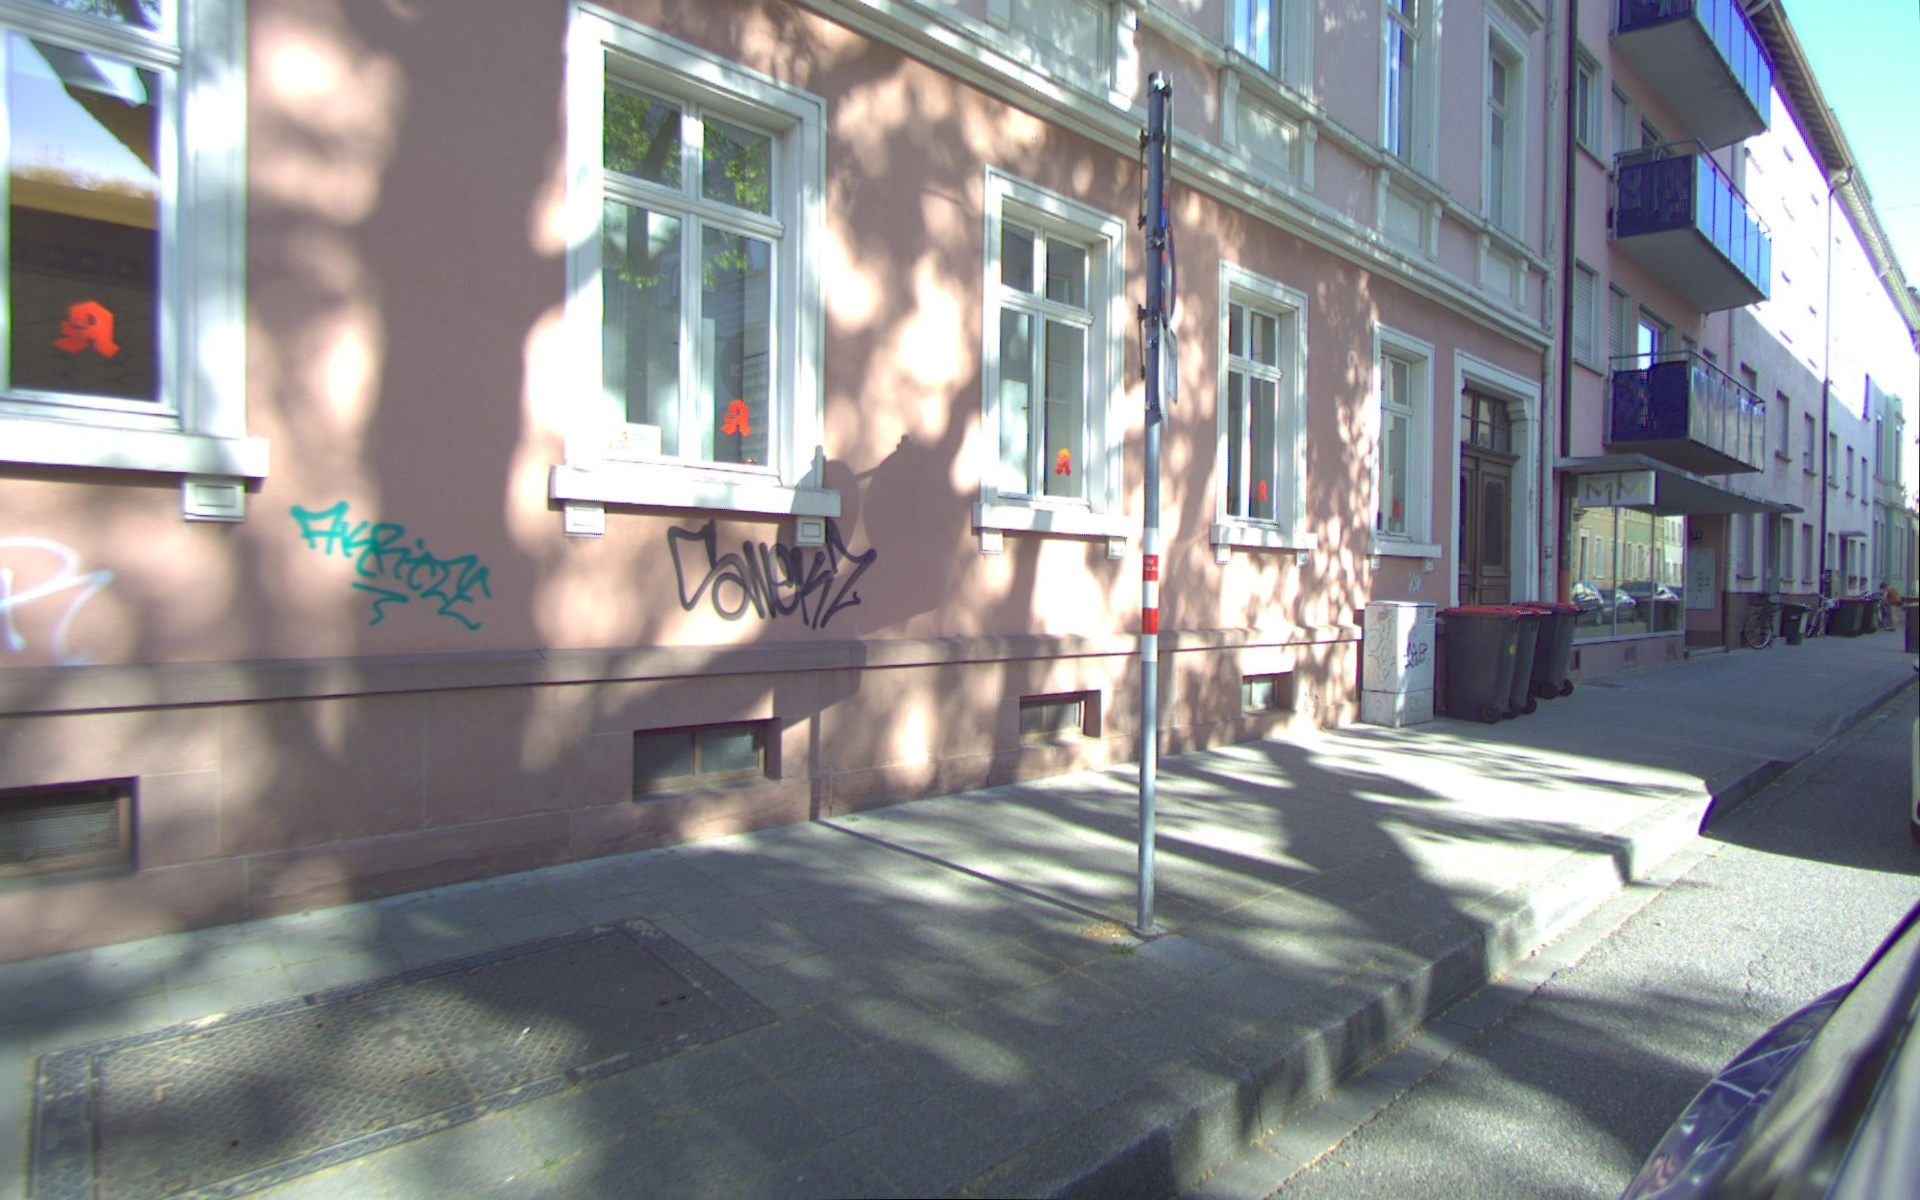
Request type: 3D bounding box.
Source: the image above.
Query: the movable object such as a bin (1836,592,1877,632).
[{"bbox_3d":[24.223,0.307,27.345,0.537,1.014,0.716,0,4,-43],"label":"movable object such as a bin"}]

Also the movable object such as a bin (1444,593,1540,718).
[{"bbox_3d":[5.041,0.500,9.588,0.643,1.097,0.570,0,4,-43],"label":"movable object such as a bin"}]

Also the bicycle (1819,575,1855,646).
[{"bbox_3d":[22.426,0.241,25.870,2.070,1.757,0.402,0,1,-41],"label":"bicycle"}]

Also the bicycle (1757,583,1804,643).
[{"bbox_3d":[16.819,0.247,20.736,1.989,1.165,0.402,0,1,-41],"label":"bicycle"}]

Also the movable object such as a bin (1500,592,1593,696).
[{"bbox_3d":[6.679,0.475,11.523,0.608,1.097,0.717,0,4,-43],"label":"movable object such as a bin"}]

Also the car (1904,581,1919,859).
[{"bbox_3d":[7.339,0.632,6.177,4.483,1.475,1.860,0,1,-41],"label":"car"}]

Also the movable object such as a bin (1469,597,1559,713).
[{"bbox_3d":[5.486,0.522,10.021,0.601,1.071,0.570,0,4,-43],"label":"movable object such as a bin"}]

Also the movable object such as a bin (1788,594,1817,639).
[{"bbox_3d":[18.603,0.351,22.344,0.297,0.951,0.415,0,4,-43],"label":"movable object such as a bin"}]

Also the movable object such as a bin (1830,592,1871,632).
[{"bbox_3d":[23.742,0.315,26.977,0.537,1.014,0.716,0,4,-43],"label":"movable object such as a bin"}]

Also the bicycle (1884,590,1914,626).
[{"bbox_3d":[29.934,0.235,32.268,1.899,1.109,0.489,0,1,-41],"label":"bicycle"}]
